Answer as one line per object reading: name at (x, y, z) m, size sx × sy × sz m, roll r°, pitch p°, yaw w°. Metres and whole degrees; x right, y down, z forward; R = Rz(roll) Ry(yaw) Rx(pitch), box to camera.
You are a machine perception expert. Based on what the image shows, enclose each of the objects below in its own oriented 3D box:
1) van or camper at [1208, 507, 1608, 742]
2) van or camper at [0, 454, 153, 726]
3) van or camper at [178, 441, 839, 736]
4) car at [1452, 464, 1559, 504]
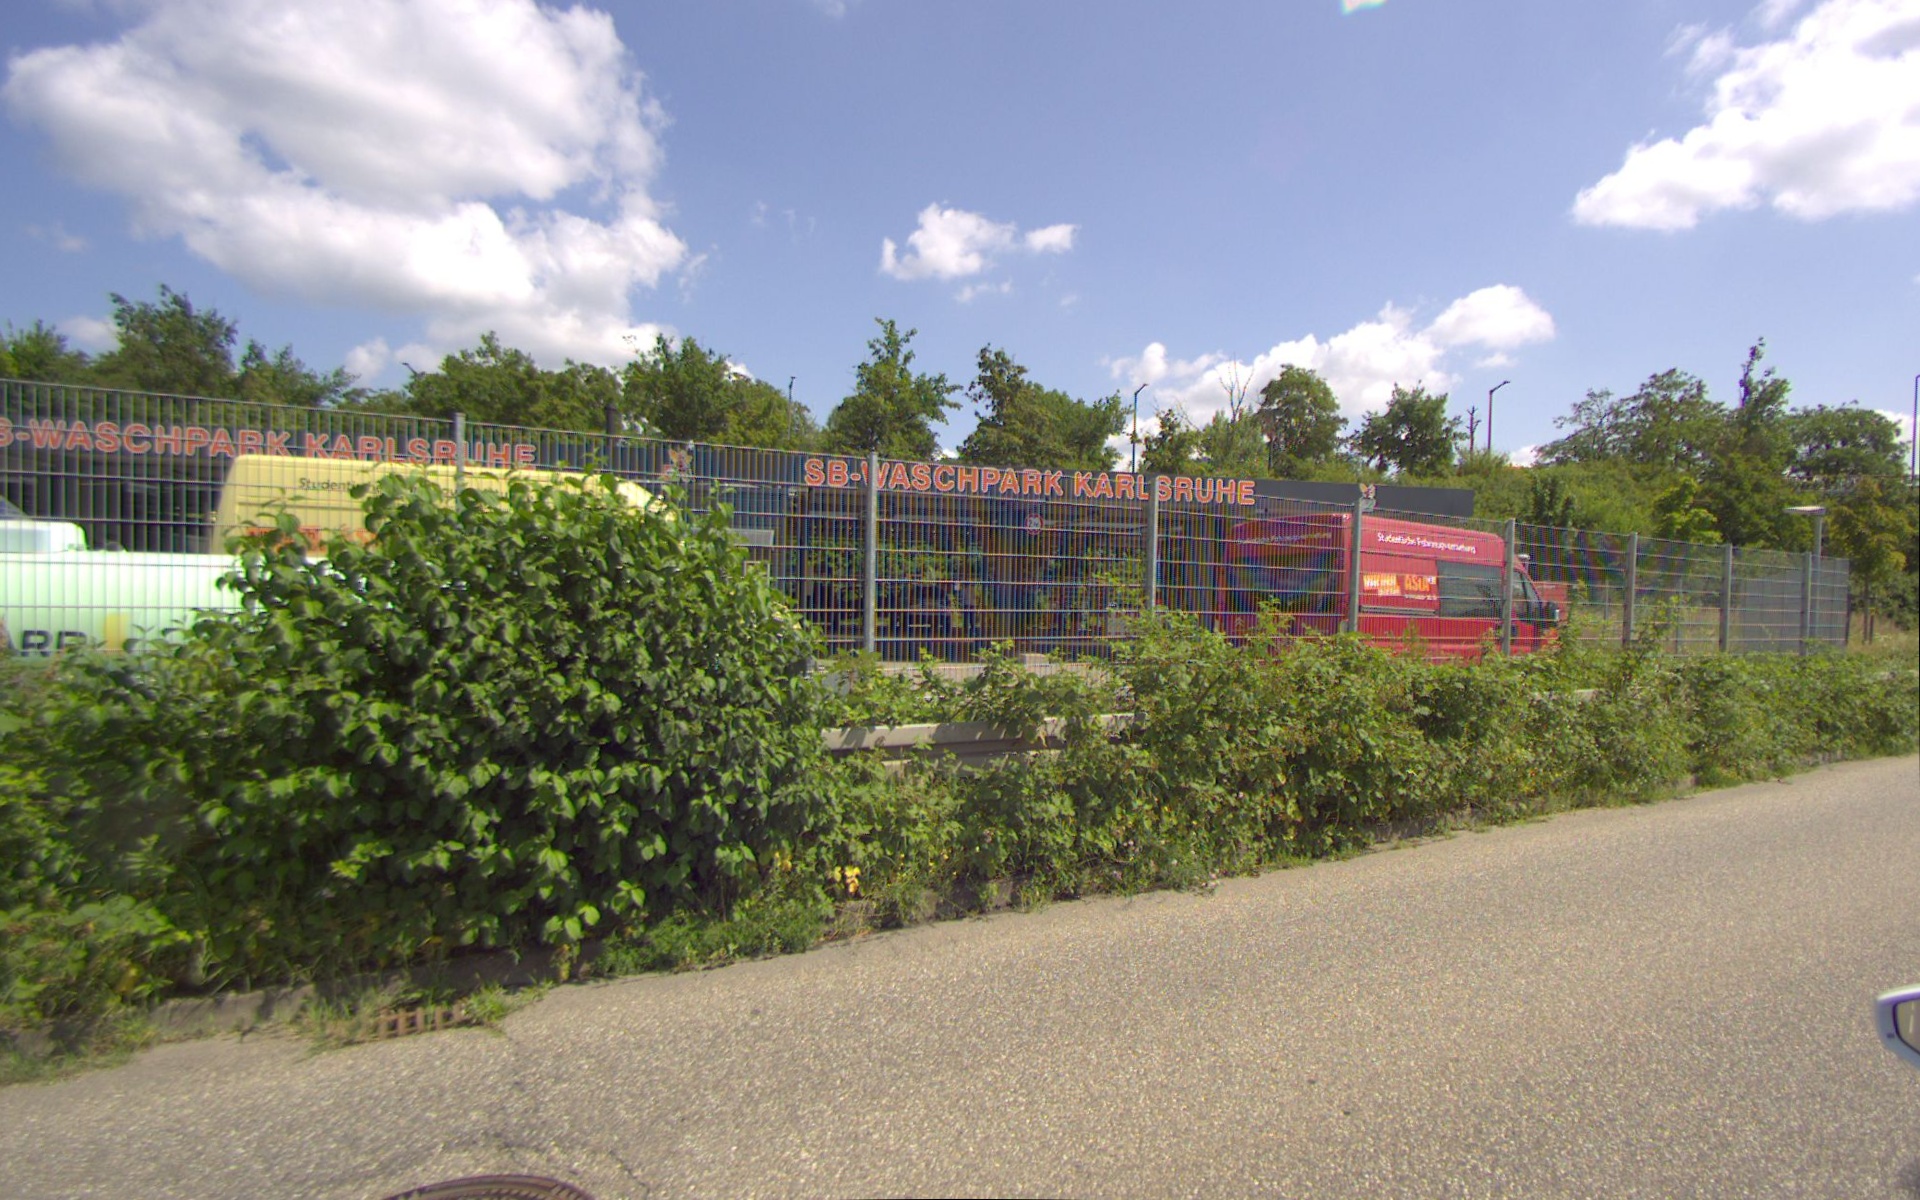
van or camper at (6.077, 0.346, 13.361) m, size 5.641 × 2.547 × 2.175 m, roll 1°, pitch -2°, yaw -33°
van or camper at (-10.502, -0.170, 8.802) m, size 5.015 × 2.246 × 1.878 m, roll 2°, pitch 0°, yaw -8°
van or camper at (-4.090, -0.041, 10.164) m, size 5.557 × 2.457 × 2.246 m, roll 2°, pitch 0°, yaw -9°
car at (32.433, -6.904, 59.867) m, size 5.228 × 2.040 × 2.002 m, roll 1°, pitch -2°, yaw 8°
